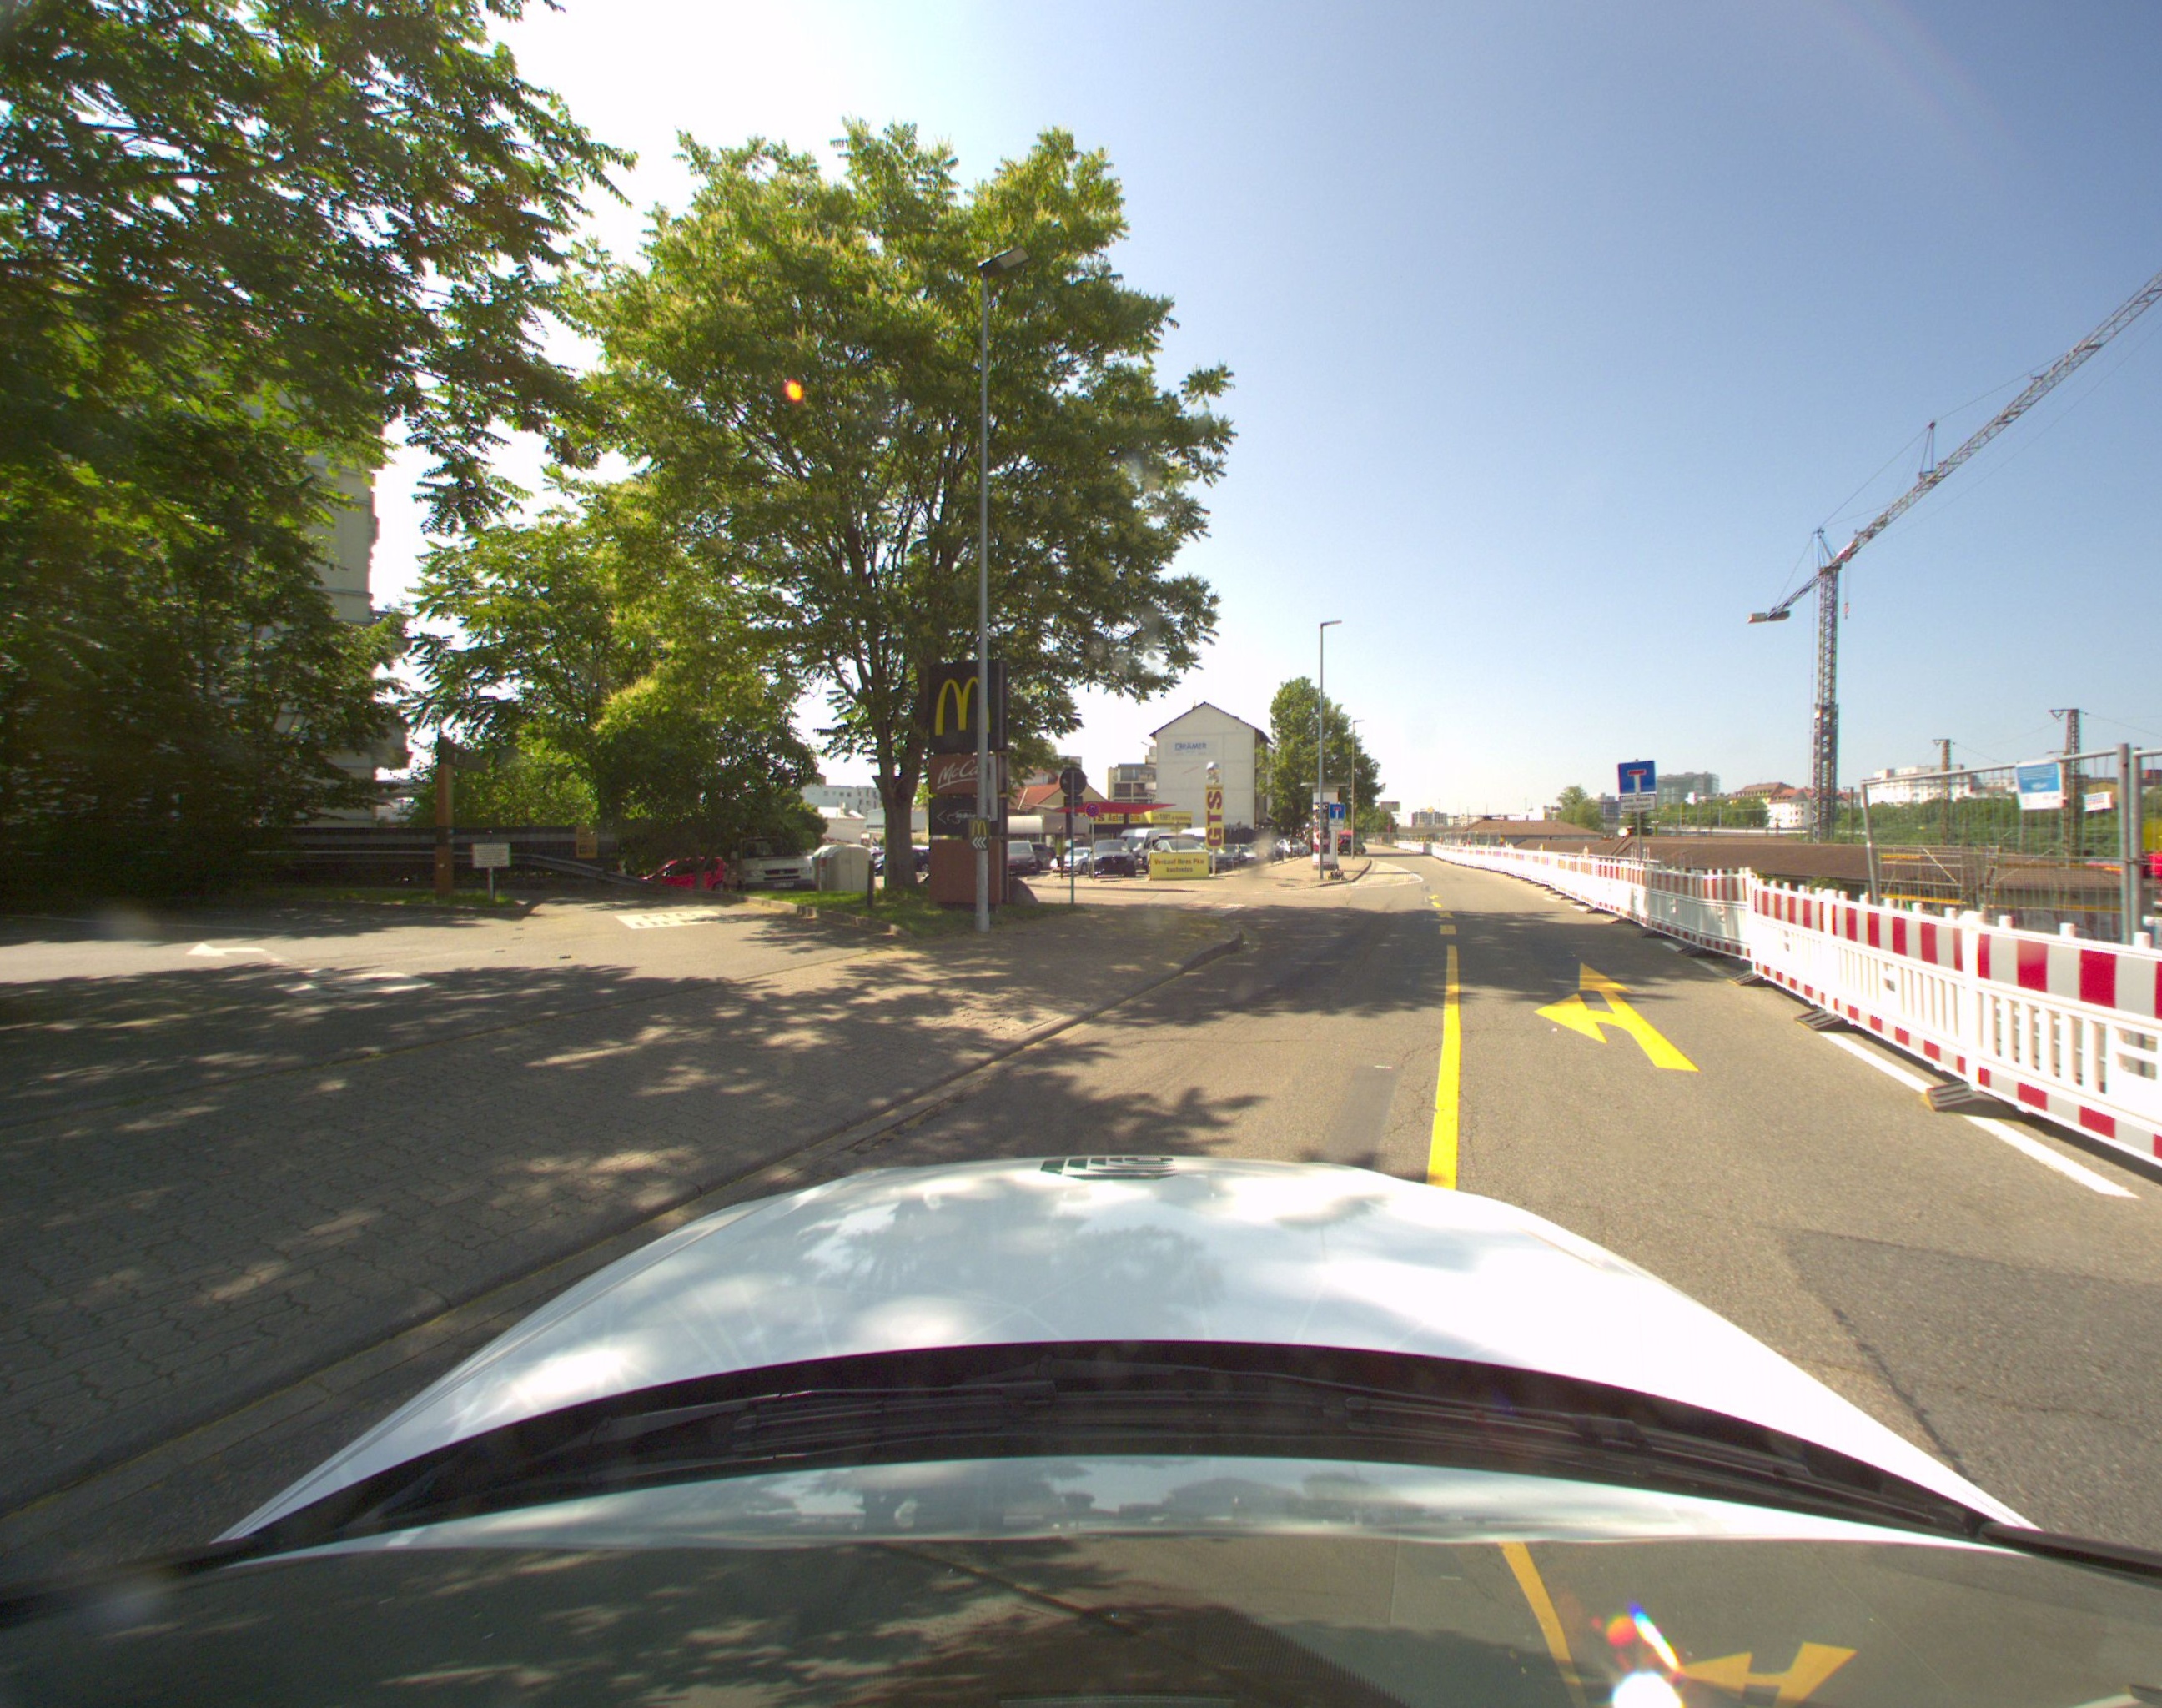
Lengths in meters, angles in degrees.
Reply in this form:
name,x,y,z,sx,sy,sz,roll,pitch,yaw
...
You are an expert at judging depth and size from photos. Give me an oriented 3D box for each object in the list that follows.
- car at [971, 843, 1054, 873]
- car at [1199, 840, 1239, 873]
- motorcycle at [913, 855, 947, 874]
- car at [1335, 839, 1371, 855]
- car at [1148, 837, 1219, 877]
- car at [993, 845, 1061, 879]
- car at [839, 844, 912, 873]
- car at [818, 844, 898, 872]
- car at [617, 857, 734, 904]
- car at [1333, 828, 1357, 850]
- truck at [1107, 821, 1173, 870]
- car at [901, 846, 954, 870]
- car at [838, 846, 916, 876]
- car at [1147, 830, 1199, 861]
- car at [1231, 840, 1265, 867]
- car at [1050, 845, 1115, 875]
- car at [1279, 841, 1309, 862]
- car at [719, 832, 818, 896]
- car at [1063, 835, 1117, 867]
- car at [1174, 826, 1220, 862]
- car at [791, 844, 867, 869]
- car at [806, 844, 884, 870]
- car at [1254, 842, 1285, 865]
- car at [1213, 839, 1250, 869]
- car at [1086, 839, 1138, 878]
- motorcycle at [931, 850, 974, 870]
name,x,y,z,sx,sy,sz,roll,pitch,yaw
car,-3.859,0.237,45.823,4.330,1.585,1.989,1,0,-17
car,7.003,0.084,41.622,1.847,1.629,4.008,0,1,7
motorcycle,-9.182,0.633,49.566,1.879,1.158,0.783,1,0,-28
car,28.727,-0.779,85.939,3.281,1.637,1.715,1,0,-20
car,4.606,0.116,37.292,1.996,1.725,3.983,1,0,-13
car,-2.522,0.350,39.160,1.773,1.510,4.020,1,0,20
car,-12.949,0.303,51.363,1.975,1.725,4.024,1,0,43
car,-14.501,0.262,53.059,1.975,1.725,4.682,1,0,43
car,-14.119,0.878,28.450,3.432,1.378,1.470,-2,3,-38
car,32.327,-1.816,99.581,2.516,2.519,5.145,1,0,21
truck,3.913,-0.564,52.496,2.249,2.903,5.977,2,1,24
car,-10.605,0.240,56.148,2.009,1.585,3.955,1,0,-38
car,-12.021,0.390,48.165,4.020,1.706,1.977,1,0,-40
car,5.597,-0.510,49.057,1.861,1.738,4.748,2,1,22
car,10.689,-0.050,52.308,1.847,1.629,4.008,0,1,7
car,0.115,0.308,44.459,1.771,1.487,4.025,1,0,29
car,17.654,-0.234,67.625,1.847,1.629,4.008,0,1,7
car,-8.945,0.203,23.035,1.963,1.583,4.986,1,1,-28
car,0.623,-0.196,53.138,1.976,2.013,4.519,1,0,22
car,7.843,-0.685,54.703,2.118,2.284,4.735,1,1,20
car,-17.615,0.181,57.017,1.975,1.725,4.682,1,0,43
car,-15.958,0.221,55.284,1.975,1.725,4.682,1,0,43
car,13.939,-0.062,60.396,1.847,1.629,4.008,0,1,7
car,8.631,-0.042,47.065,1.847,1.629,4.008,0,1,7
car,1.330,0.175,36.806,2.041,1.594,4.421,1,0,-1
motorcycle,-8.320,0.374,53.009,0.987,1.227,2.735,1,0,42
